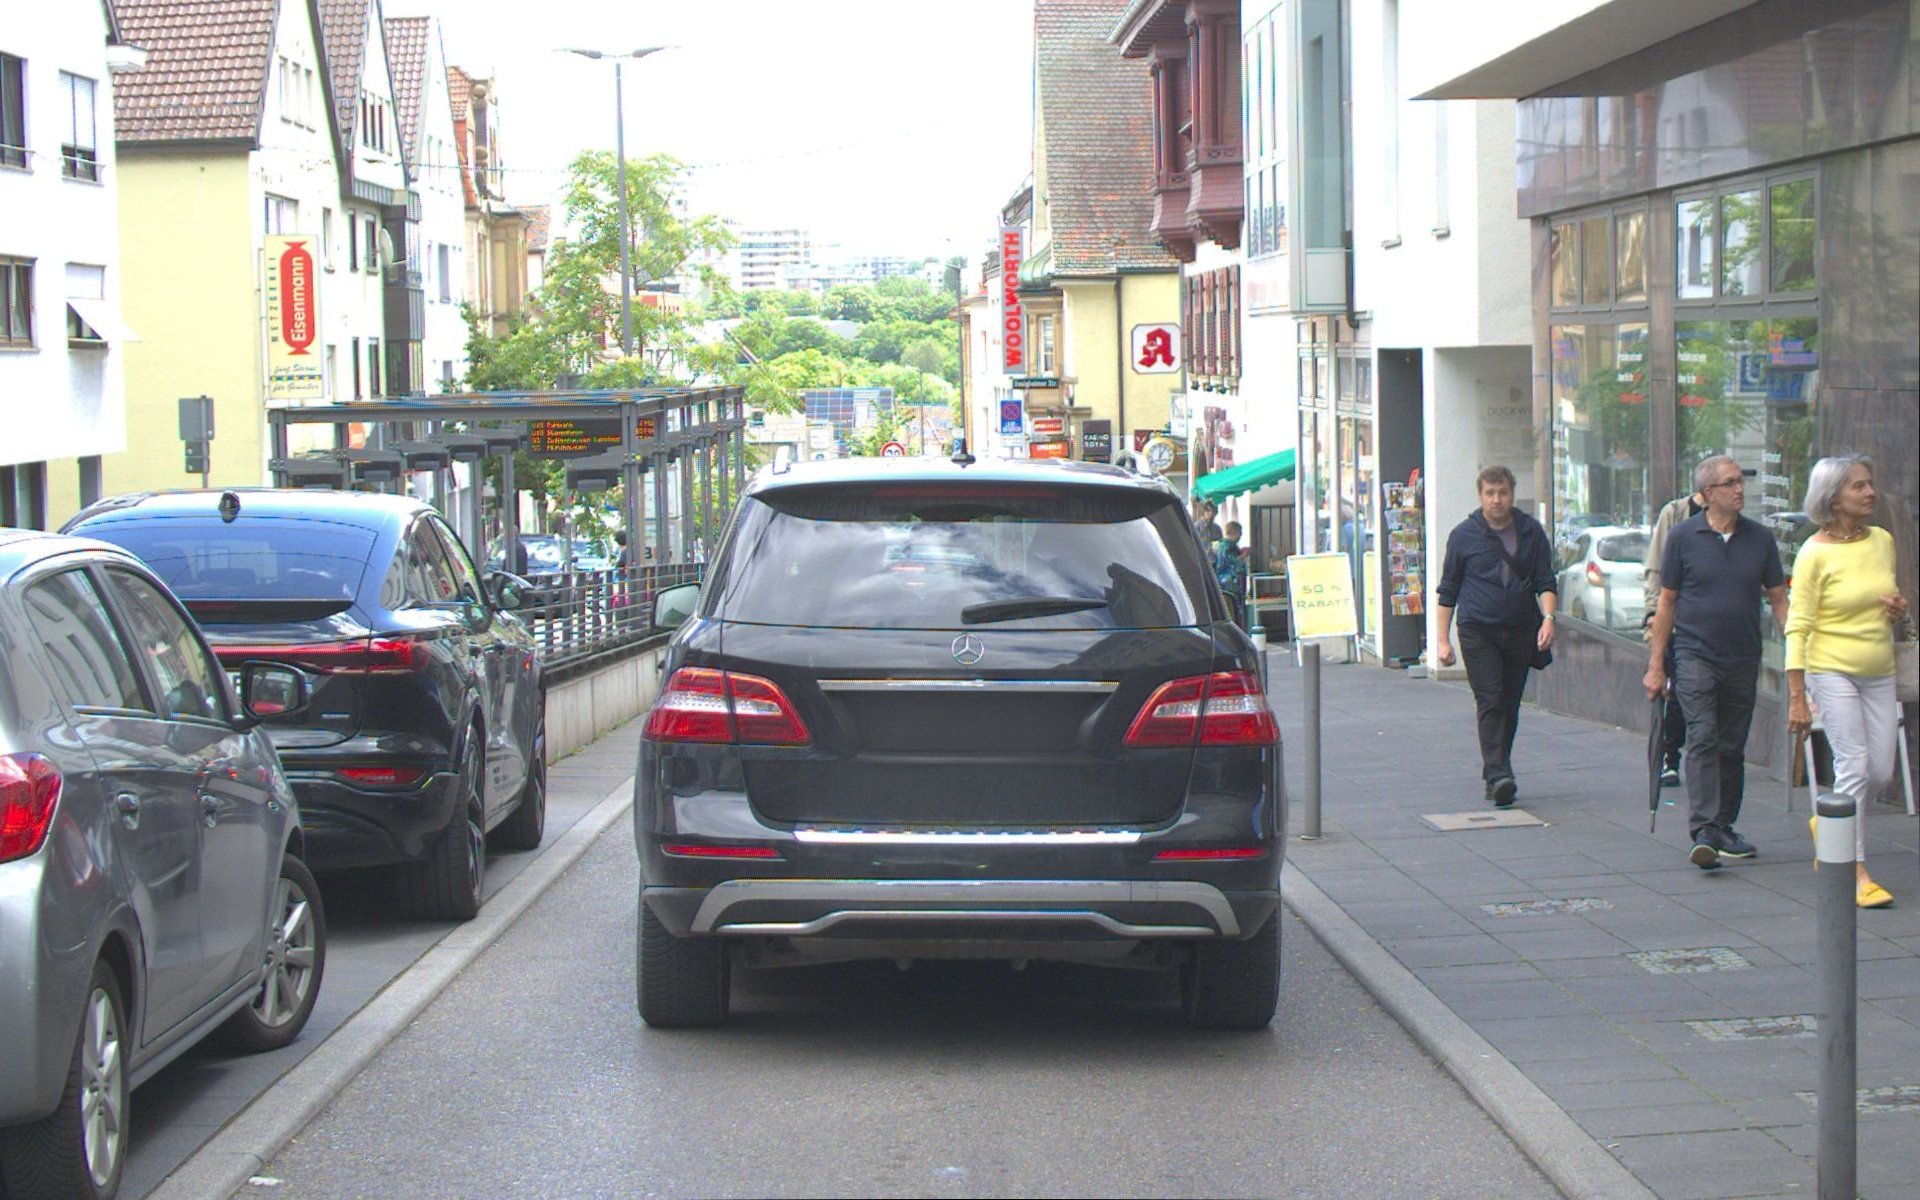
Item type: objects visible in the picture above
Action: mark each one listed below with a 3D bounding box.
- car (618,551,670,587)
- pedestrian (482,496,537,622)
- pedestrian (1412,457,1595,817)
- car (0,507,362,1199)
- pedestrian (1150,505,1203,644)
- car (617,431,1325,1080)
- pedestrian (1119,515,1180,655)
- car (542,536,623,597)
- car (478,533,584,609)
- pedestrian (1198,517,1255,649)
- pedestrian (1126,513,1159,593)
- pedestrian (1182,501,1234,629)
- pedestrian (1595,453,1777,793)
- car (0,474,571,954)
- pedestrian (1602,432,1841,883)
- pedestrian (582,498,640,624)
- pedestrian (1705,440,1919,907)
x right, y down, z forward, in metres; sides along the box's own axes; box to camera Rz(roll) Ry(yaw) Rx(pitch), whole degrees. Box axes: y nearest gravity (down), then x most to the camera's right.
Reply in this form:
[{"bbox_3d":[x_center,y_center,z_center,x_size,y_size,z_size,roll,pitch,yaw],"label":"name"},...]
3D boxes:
[{"bbox_3d":[-10.075,-1.005,109.870,1.388,1.066,3.113,-1,1,-1],"label":"car"},{"bbox_3d":[-6.103,-0.558,46.581,0.612,1.683,0.563,1,1,5],"label":"pedestrian"},{"bbox_3d":[2.738,0.176,17.380,0.711,1.747,0.787,-3,1,-1],"label":"pedestrian"},{"bbox_3d":[-2.563,0.545,8.383,1.620,1.527,3.671,1,1,-1],"label":"car"},{"bbox_3d":[2.734,-0.325,43.390,0.542,1.720,0.528,-2,1,-7],"label":"pedestrian"},{"bbox_3d":[-0.059,0.390,11.326,1.900,1.741,4.001,1,1,-3],"label":"car"},{"bbox_3d":[2.286,-0.184,41.594,0.621,1.683,0.566,1,1,-7],"label":"pedestrian"},{"bbox_3d":[-9.551,-0.857,87.166,1.660,1.484,3.748,1,1,-1],"label":"car"},{"bbox_3d":[-8.701,-0.605,70.016,1.689,1.484,3.979,1,1,-1],"label":"car"},{"bbox_3d":[3.466,-0.229,44.742,0.573,1.683,0.566,-2,1,-7],"label":"pedestrian"},{"bbox_3d":[3.881,-1.000,73.174,0.606,1.683,0.724,-1,1,-1],"label":"pedestrian"},{"bbox_3d":[3.291,-0.467,45.692,0.573,1.683,0.566,1,1,-7],"label":"pedestrian"},{"bbox_3d":[3.743,0.110,17.744,0.662,1.683,0.543,-5,1,-7],"label":"pedestrian"},{"bbox_3d":[-2.770,0.350,13.953,1.956,1.634,4.315,1,1,-1],"label":"car"},{"bbox_3d":[3.074,0.219,13.937,0.711,1.747,0.785,-3,1,-1],"label":"pedestrian"},{"bbox_3d":[-4.717,-0.532,46.516,0.626,1.683,0.679,1,1,7],"label":"pedestrian"},{"bbox_3d":[3.207,0.247,12.561,0.711,1.625,0.835,-3,1,-1],"label":"pedestrian"}]
